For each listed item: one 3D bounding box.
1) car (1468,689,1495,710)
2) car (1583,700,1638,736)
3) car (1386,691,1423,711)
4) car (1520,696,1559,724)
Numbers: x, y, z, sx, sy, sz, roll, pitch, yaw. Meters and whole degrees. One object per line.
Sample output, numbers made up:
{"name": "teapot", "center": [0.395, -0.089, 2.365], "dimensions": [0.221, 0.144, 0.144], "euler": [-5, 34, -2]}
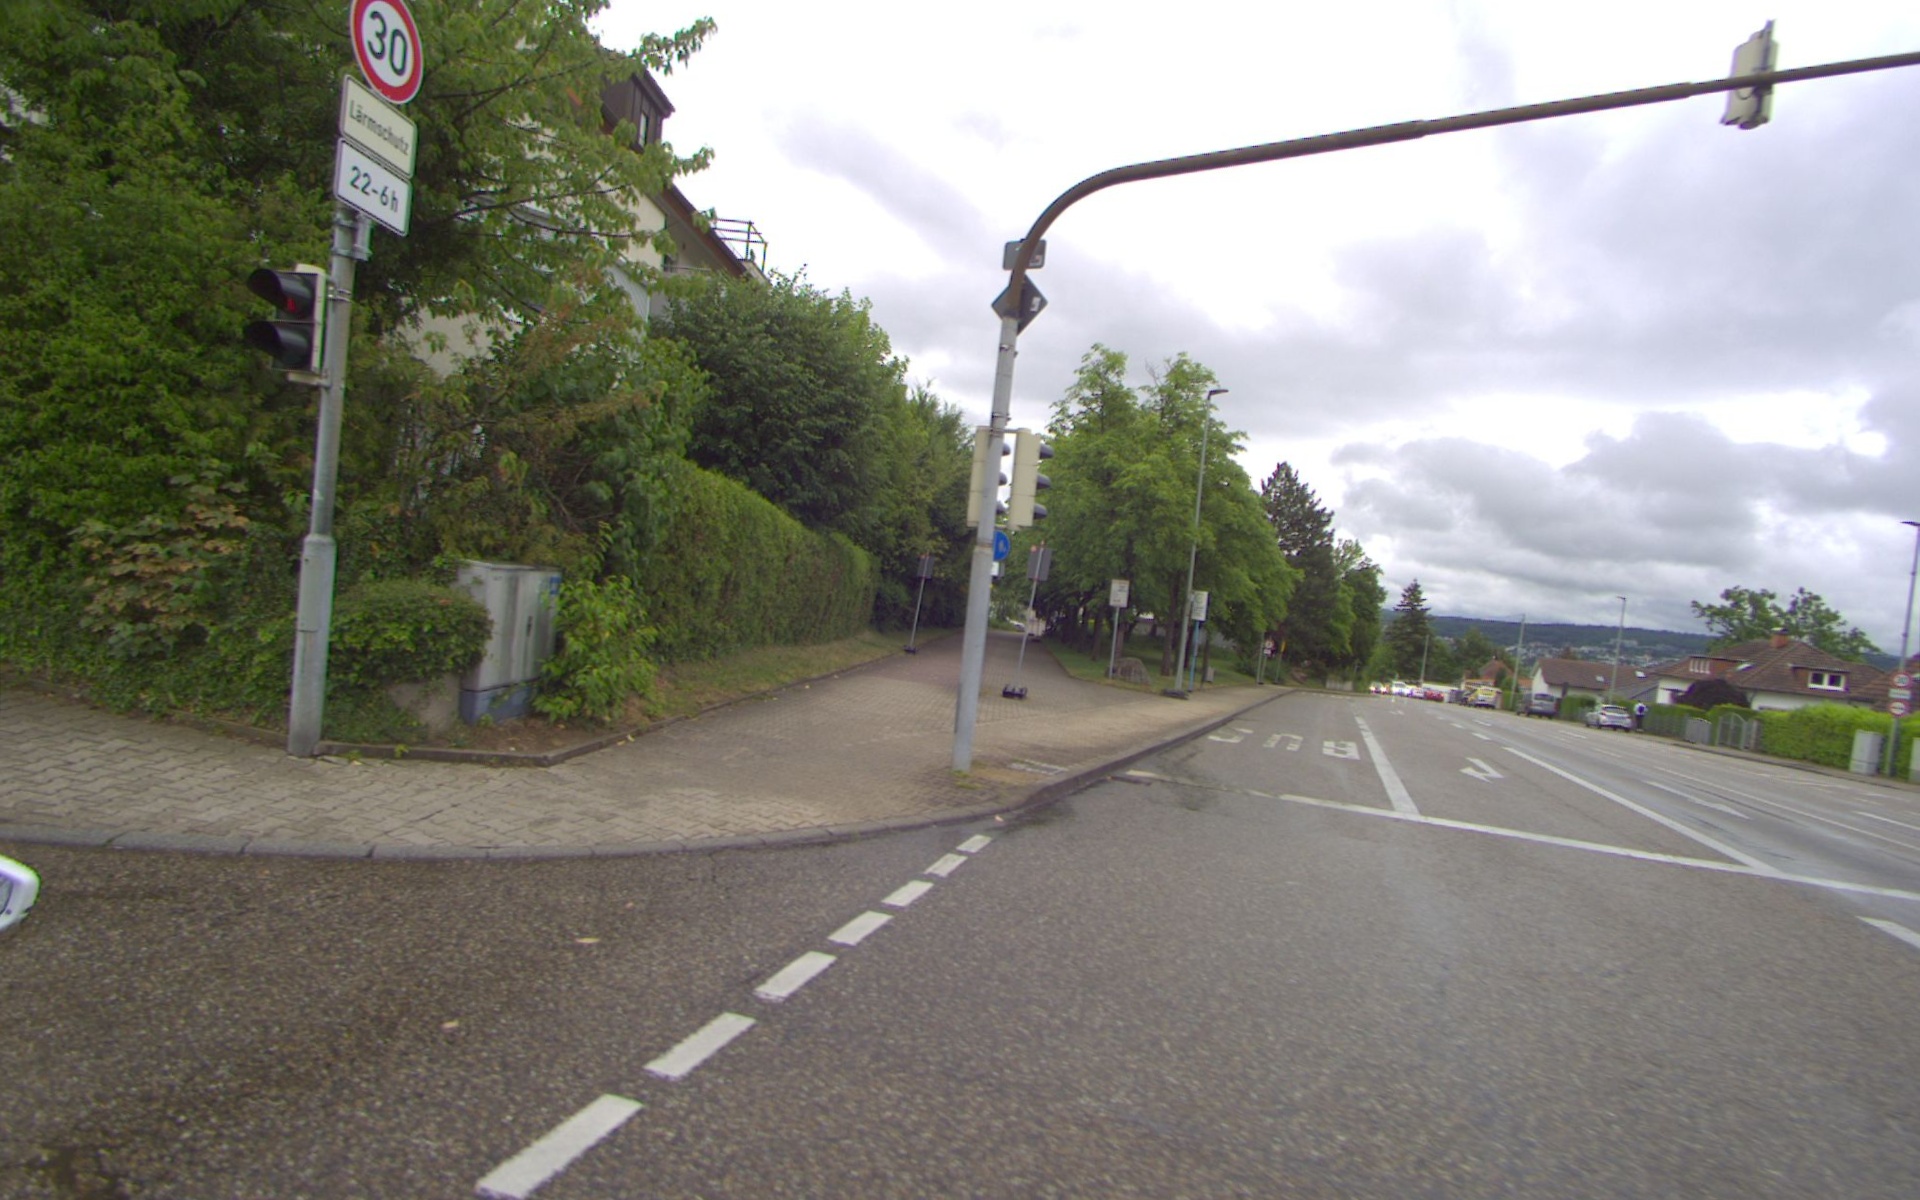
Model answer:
{"name": "car", "center": [52.916, 10.112, 102.101], "dimensions": [1.964, 1.859, 4.001], "euler": [7, -2, 23]}
{"name": "car", "center": [39.402, 7.116, 61.038], "dimensions": [1.964, 1.859, 4.001], "euler": [7, -2, 23]}
{"name": "car", "center": [53.493, 12.128, 121.086], "dimensions": [3.928, 1.859, 2.000], "euler": [7, -2, 24]}
{"name": "car", "center": [45.214, 8.580, 78.557], "dimensions": [1.964, 1.859, 4.001], "euler": [7, -2, 23]}
